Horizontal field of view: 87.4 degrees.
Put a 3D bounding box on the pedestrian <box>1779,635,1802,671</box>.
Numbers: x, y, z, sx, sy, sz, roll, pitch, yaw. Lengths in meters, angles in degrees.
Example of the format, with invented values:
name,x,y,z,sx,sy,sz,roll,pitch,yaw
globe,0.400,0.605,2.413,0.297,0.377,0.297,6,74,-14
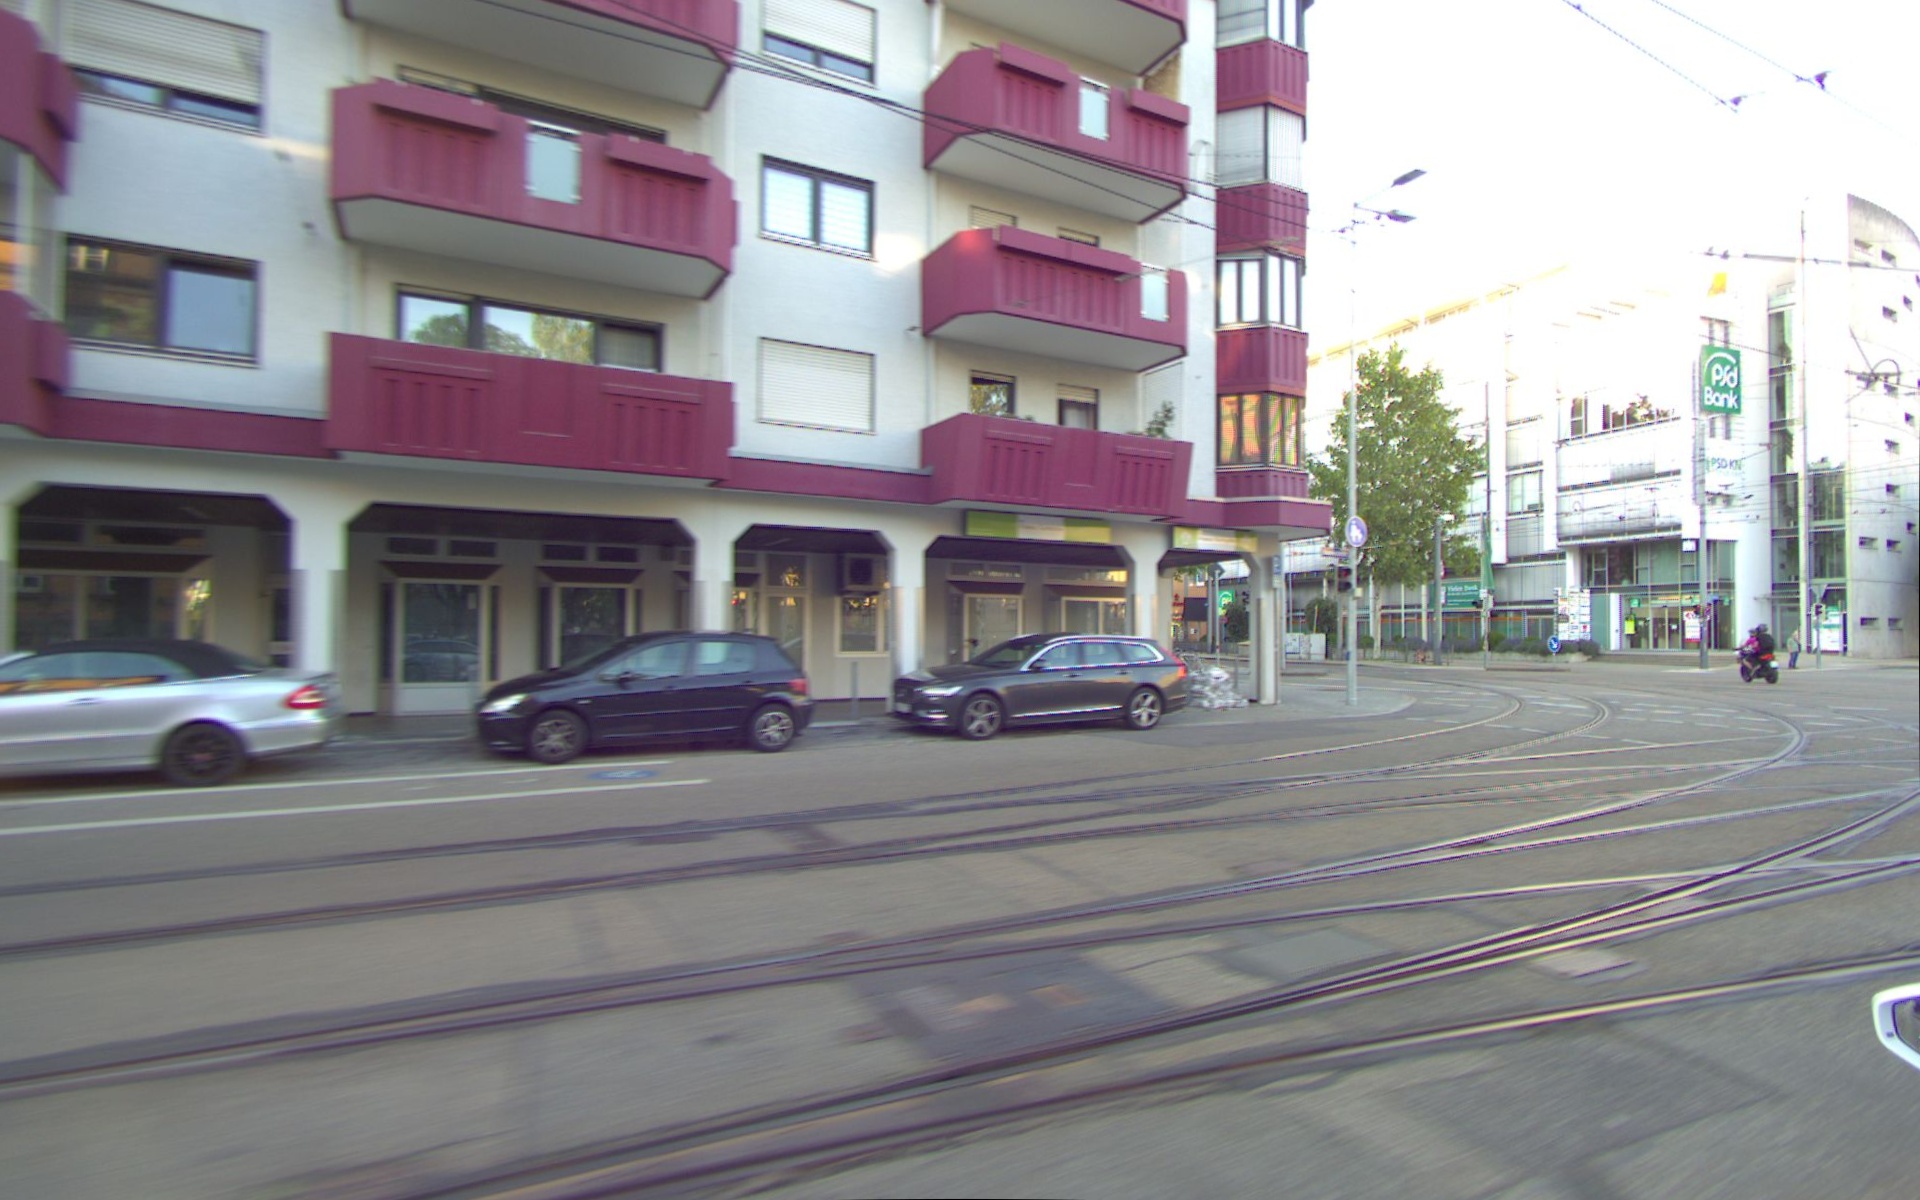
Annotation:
name,x,y,z,sx,sy,sz,roll,pitch,yaw
pedestrian,40.482,2.562,48.971,0.648,1.733,0.547,1,-2,-12

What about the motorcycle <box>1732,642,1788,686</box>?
name,x,y,z,sx,sy,sz,roll,pitch,yaw
motorcycle,24.778,1.957,31.151,0.815,1.256,2.489,-1,-2,26

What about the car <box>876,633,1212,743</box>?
name,x,y,z,sx,sy,sz,roll,pitch,yaw
car,1.369,1.273,15.576,5.023,1.476,1.844,1,-2,-28

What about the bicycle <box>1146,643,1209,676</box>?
name,x,y,z,sx,sy,sz,roll,pitch,yaw
bicycle,6.700,1.826,30.898,1.811,0.970,0.672,1,-2,-17

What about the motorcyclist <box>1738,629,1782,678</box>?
name,x,y,z,sx,sy,sz,roll,pitch,yaw
motorcyclist,24.740,1.633,31.095,0.815,1.492,1.206,-1,-2,27

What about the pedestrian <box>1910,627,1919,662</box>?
name,x,y,z,sx,sy,sz,roll,pitch,yaw
pedestrian,53.513,2.488,55.970,0.542,1.947,0.658,1,-3,-32

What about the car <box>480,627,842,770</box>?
name,x,y,z,sx,sy,sz,roll,pitch,yaw
car,-3.769,1.149,12.790,4.148,1.528,1.781,1,-1,-28

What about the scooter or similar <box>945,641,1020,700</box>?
name,x,y,z,sx,sy,sz,roll,pitch,yaw
scooter or similar,0.469,1.447,20.788,1.461,1.181,0.547,1,-2,-28

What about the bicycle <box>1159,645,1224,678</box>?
name,x,y,z,sx,sy,sz,roll,pitch,yaw
bicycle,6.943,1.836,30.107,1.811,0.970,0.672,1,-2,-17

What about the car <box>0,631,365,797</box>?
name,x,y,z,sx,sy,sz,roll,pitch,yaw
car,-8.674,1.062,9.964,4.616,1.432,1.685,1,0,-27
